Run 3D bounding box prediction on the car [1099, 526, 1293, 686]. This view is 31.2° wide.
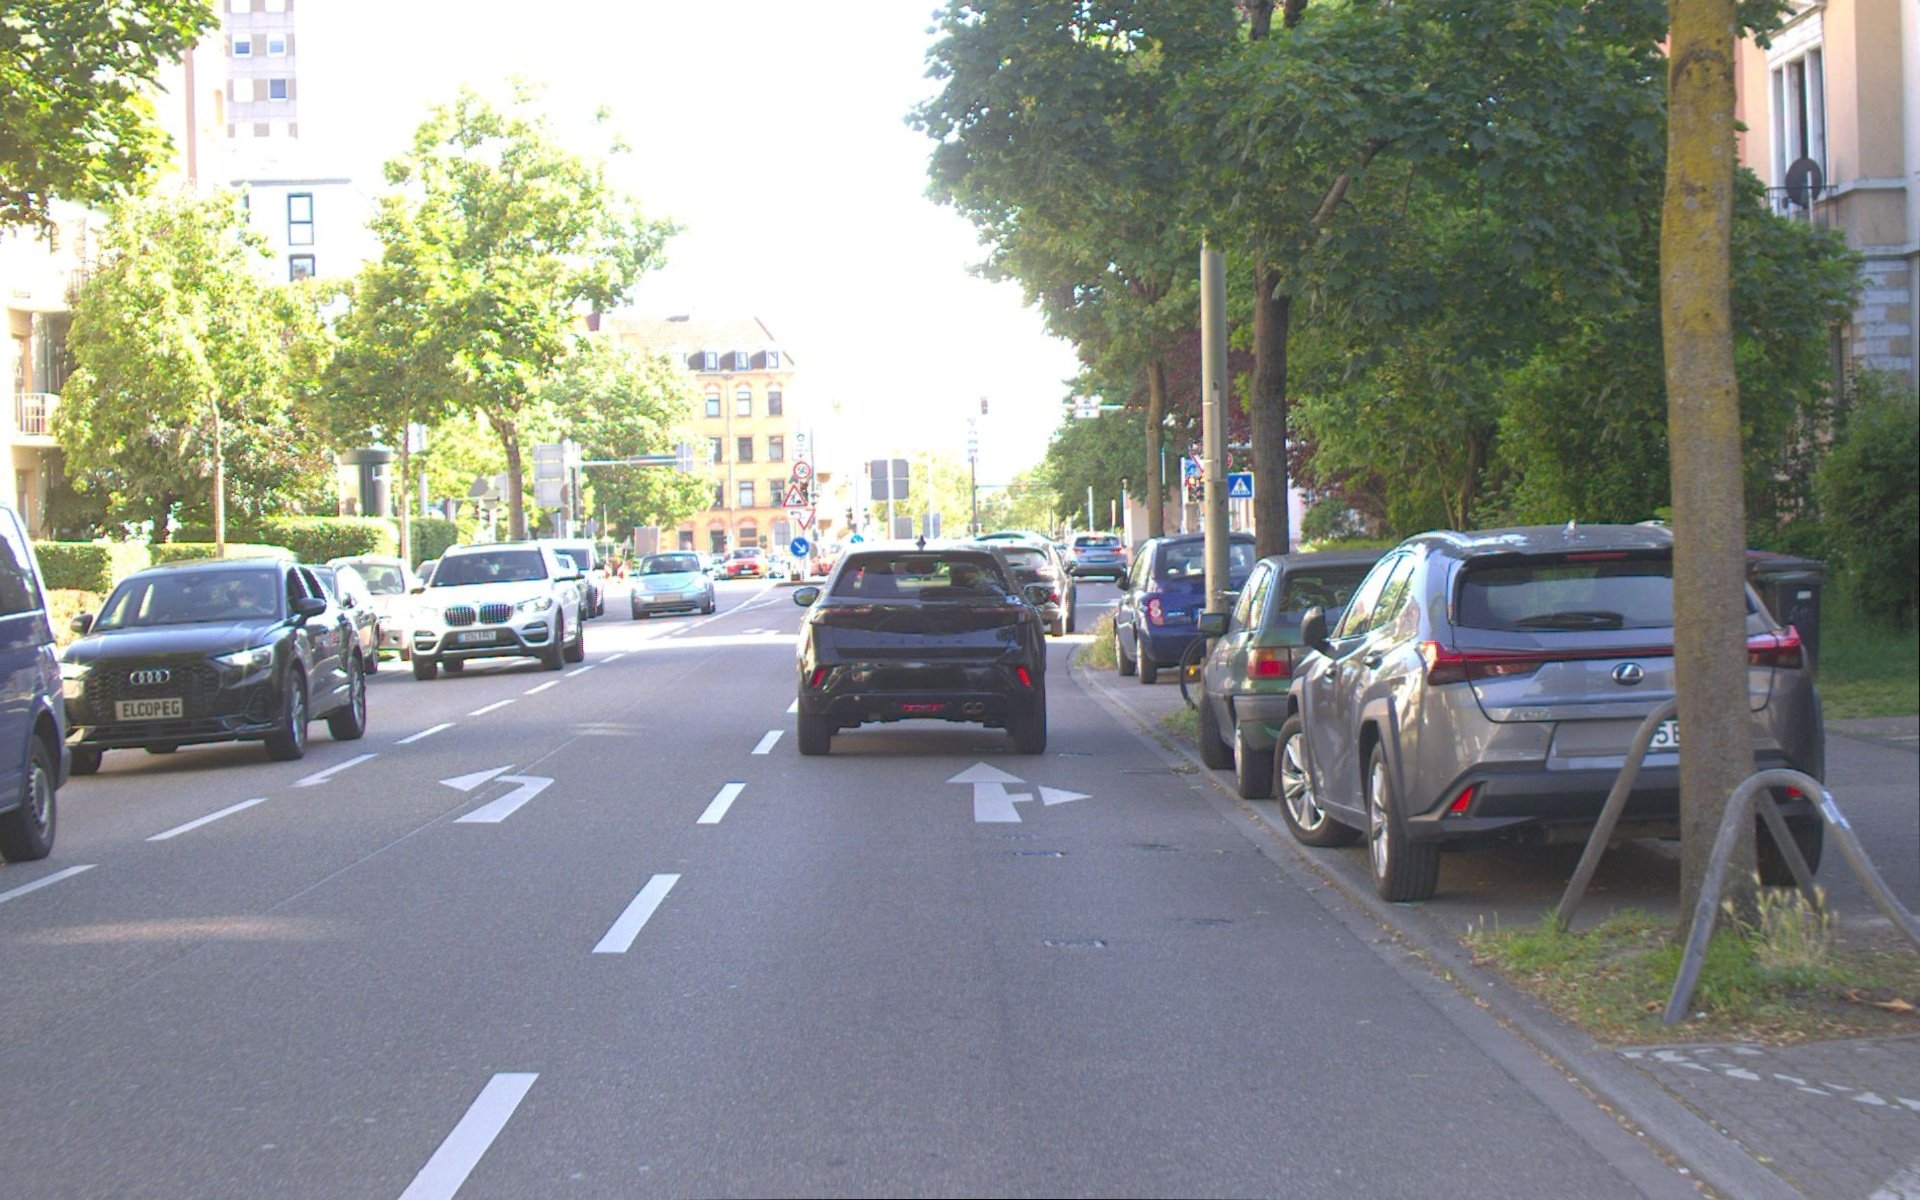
[{"bbox_3d":[2.464,0.020,36.593,1.559,1.510,3.655,-4,1,-2],"label":"car"}]

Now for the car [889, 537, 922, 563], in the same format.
[{"bbox_3d":[-3.109,-2.871,196.575,1.810,1.402,4.000,-2,1,-1],"label":"car"}]

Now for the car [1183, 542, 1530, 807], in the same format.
[{"bbox_3d":[2.329,0.378,21.050,1.612,1.378,3.976,-2,1,0],"label":"car"}]

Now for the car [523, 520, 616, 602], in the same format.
[{"bbox_3d":[-9.239,-0.949,81.631,1.818,1.827,4.563,-2,1,-2],"label":"car"}]

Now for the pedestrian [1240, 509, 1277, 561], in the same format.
[{"bbox_3d":[9.721,-2.115,111.918,1.040,1.654,0.784,-2,1,-4],"label":"pedestrian"}]

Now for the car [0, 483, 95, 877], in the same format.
[{"bbox_3d":[-5.578,0.460,16.070,1.803,1.904,4.712,-4,1,-1],"label":"car"}]

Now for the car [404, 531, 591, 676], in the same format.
[{"bbox_3d":[-5.937,-0.007,44.636,1.806,1.642,4.673,-4,1,-1],"label":"car"}]

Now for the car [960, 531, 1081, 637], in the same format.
[{"bbox_3d":[0.951,-0.286,55.703,1.830,1.573,3.839,-2,1,0],"label":"car"}]

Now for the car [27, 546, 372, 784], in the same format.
[{"bbox_3d":[-5.889,0.438,27.114,1.719,1.560,4.343,-4,1,-1],"label":"car"}]

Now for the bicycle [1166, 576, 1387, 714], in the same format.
[{"bbox_3d":[2.625,0.372,28.463,1.740,1.018,0.524,-4,-1,7],"label":"bicycle"}]

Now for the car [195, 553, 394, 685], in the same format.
[{"bbox_3d":[-8.540,0.202,44.482,1.785,1.488,4.494,-2,2,-2],"label":"car"}]

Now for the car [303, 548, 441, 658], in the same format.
[{"bbox_3d":[-8.698,0.013,51.052,1.675,1.520,3.659,0,2,-4],"label":"car"}]

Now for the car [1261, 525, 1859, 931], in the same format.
[{"bbox_3d":[2.483,0.443,15.265,1.714,1.484,4.235,-2,1,-2],"label":"car"}]

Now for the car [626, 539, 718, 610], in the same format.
[{"bbox_3d":[-6.343,-0.581,76.064,1.737,1.376,3.937,-3,2,-1],"label":"car"}]

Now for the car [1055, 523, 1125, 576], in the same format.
[{"bbox_3d":[3.753,-1.482,99.881,1.830,1.447,3.988,-2,1,0],"label":"car"}]

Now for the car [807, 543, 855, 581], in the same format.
[{"bbox_3d":[-5.169,-1.537,138.199,1.771,1.447,3.886,-2,1,0],"label":"car"}]

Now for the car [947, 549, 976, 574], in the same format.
[{"bbox_3d":[0.103,-2.593,231.470,1.861,1.654,4.000,1,1,1],"label":"car"}]

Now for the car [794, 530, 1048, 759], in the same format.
[{"bbox_3d":[-0.294,0.275,25.527,1.745,1.568,3.558,0,1,-1],"label":"car"}]

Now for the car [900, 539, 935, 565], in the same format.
[{"bbox_3d":[-2.597,-2.948,210.961,1.993,1.514,4.000,1,1,1],"label":"car"}]

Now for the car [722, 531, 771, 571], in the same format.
[{"bbox_3d":[-9.230,-2.127,148.934,1.791,1.611,4.000,-2,1,0],"label":"car"}]
